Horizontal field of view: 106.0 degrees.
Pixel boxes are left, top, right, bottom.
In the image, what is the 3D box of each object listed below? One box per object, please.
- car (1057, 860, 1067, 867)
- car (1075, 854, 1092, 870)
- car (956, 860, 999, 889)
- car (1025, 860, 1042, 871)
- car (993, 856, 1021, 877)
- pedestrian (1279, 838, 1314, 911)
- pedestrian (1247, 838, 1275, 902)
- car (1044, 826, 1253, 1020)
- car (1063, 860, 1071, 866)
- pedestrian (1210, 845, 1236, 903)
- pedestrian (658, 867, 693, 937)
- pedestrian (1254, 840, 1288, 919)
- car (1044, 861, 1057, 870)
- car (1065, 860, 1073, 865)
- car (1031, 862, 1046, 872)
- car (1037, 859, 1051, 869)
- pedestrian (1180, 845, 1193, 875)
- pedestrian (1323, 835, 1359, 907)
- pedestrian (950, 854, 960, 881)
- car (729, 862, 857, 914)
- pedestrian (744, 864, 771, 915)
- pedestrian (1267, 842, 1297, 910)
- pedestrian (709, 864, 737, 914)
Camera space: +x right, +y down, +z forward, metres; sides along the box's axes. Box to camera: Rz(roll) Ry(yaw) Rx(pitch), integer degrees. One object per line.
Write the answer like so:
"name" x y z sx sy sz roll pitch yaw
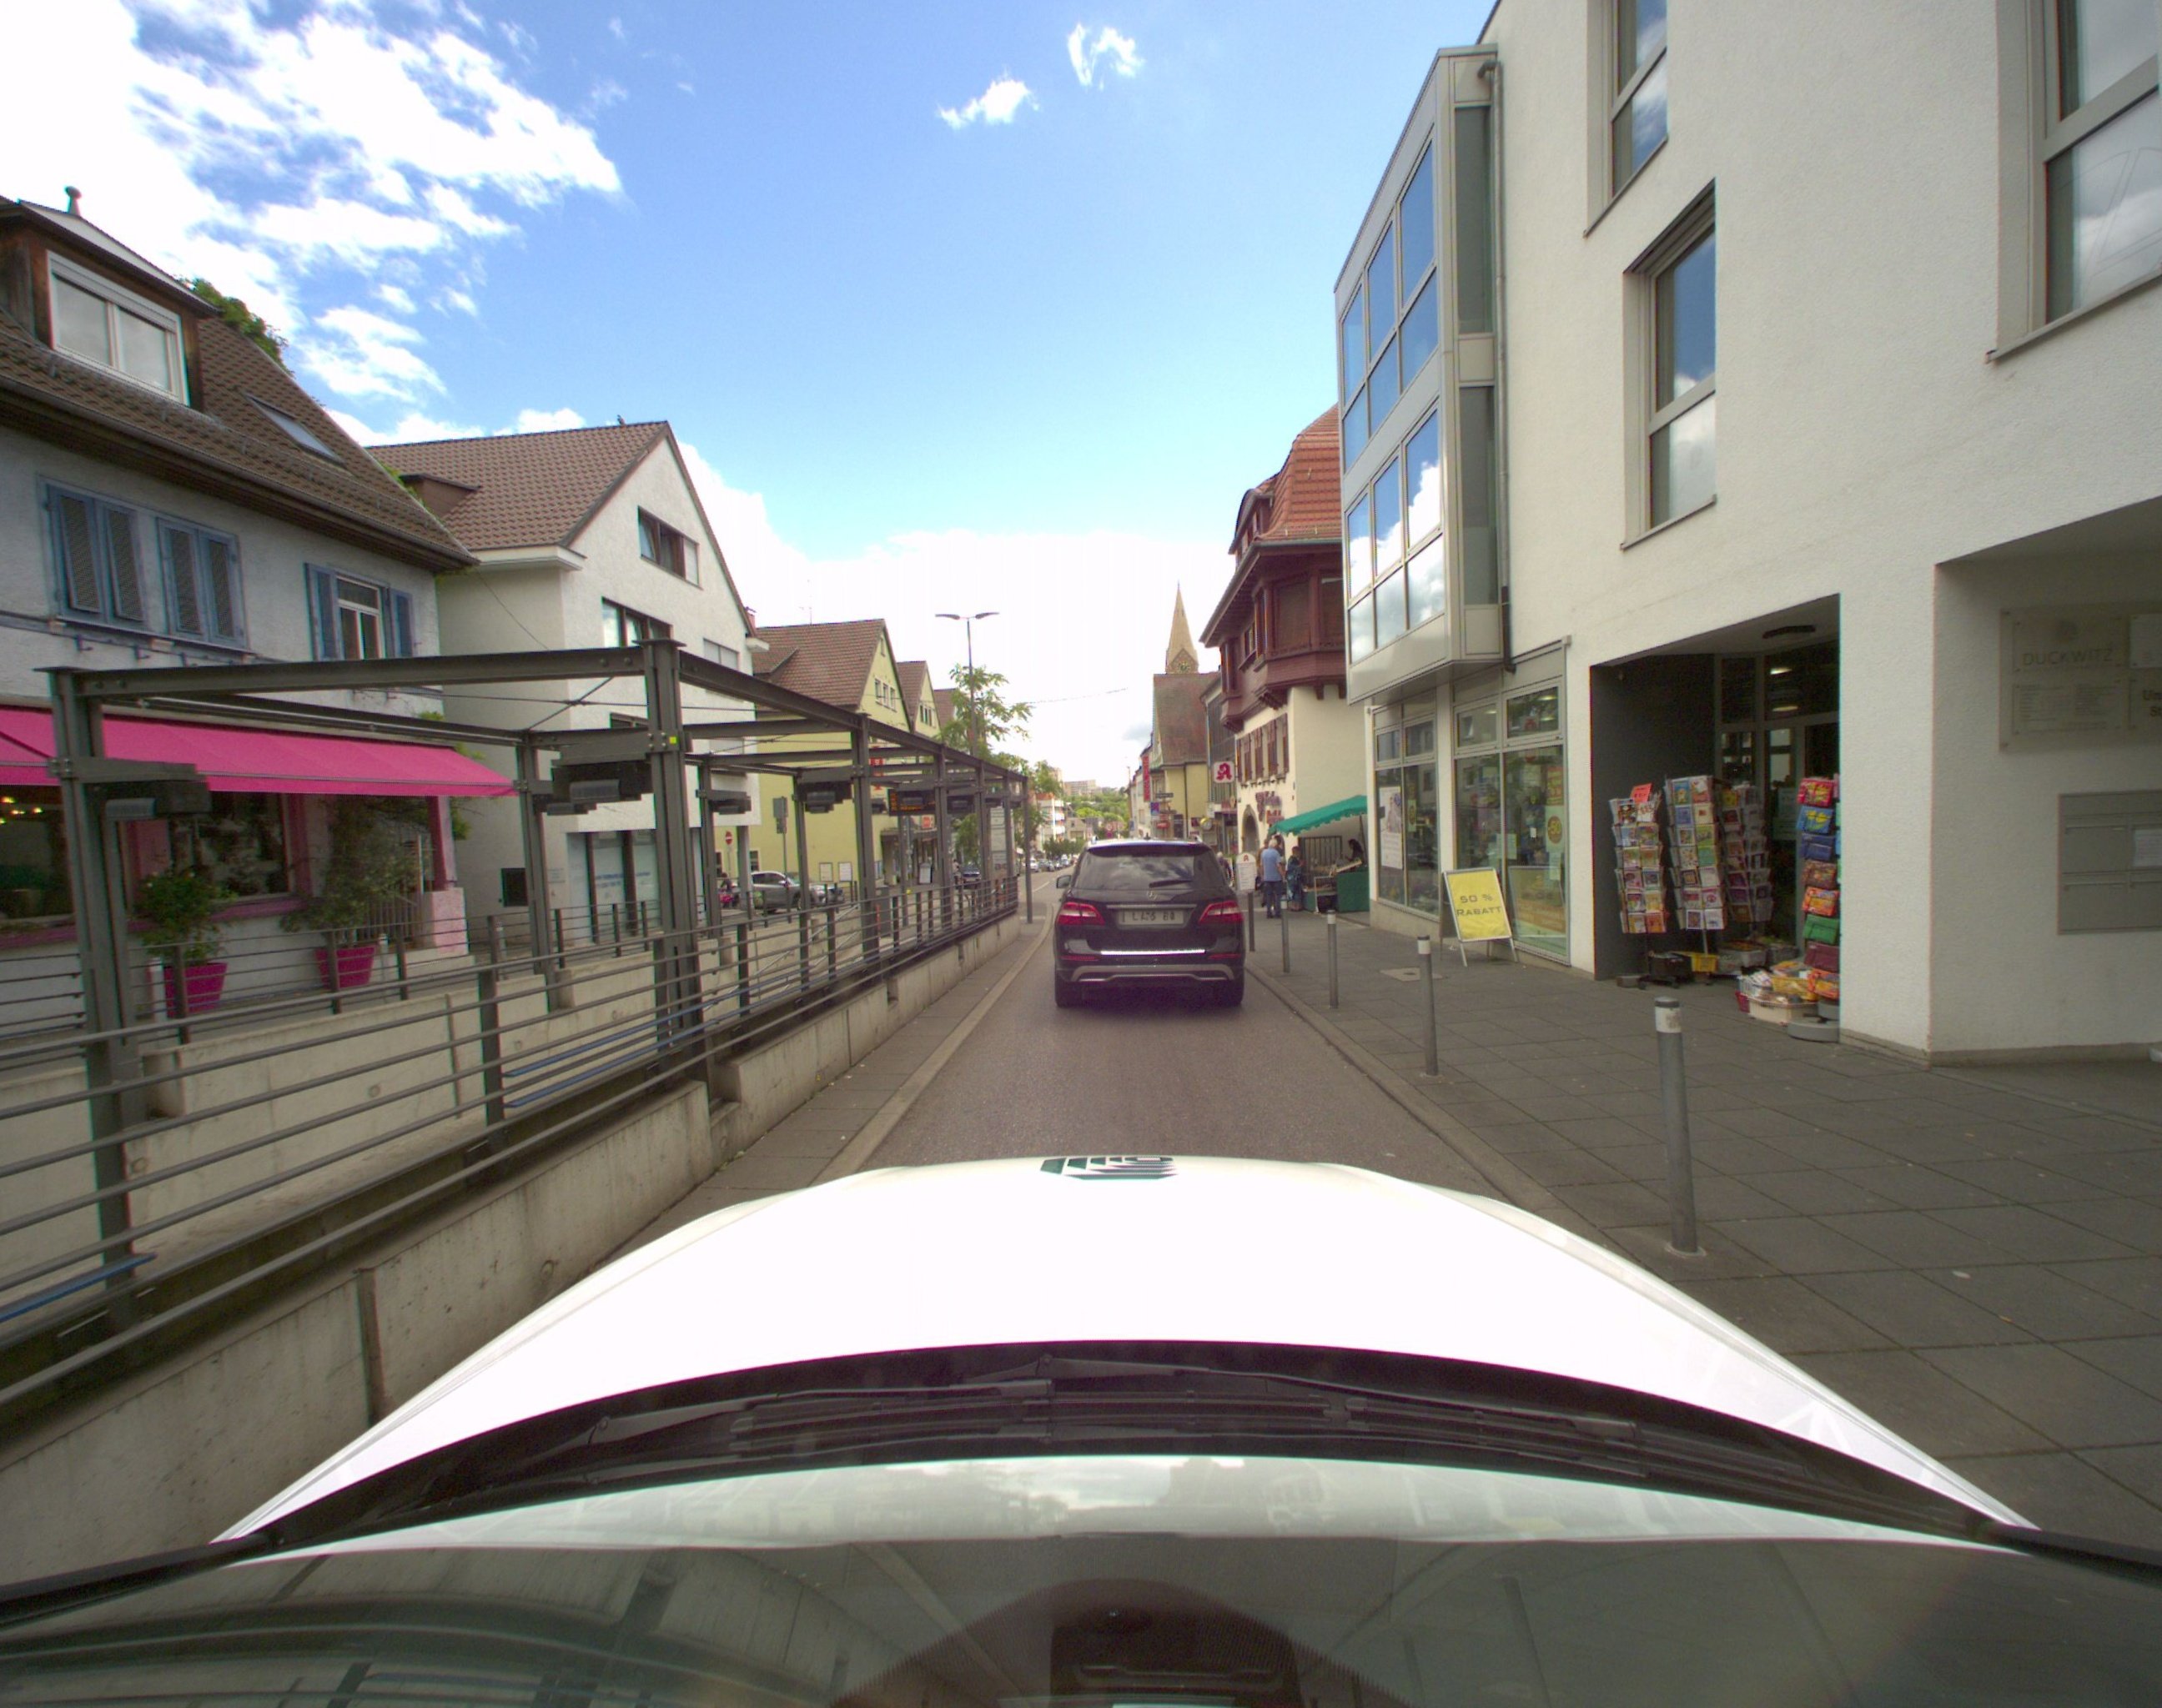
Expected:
"car" -3.056 1.549 131.406 1.383 1.070 3.115 -3 0 2
"car" 0.295 0.841 89.604 1.764 1.713 4.001 0 0 2
"car" -5.685 1.107 45.147 1.683 1.490 3.981 0 0 2
"car" -4.928 1.213 85.000 1.383 1.070 3.115 -3 0 2
"car" -5.615 0.946 62.413 1.654 1.490 3.750 0 0 2
"pedestrian" 5.159 0.480 19.503 0.572 1.689 0.565 -3 0 -5
"pedestrian" 5.134 0.449 23.258 0.637 1.809 0.685 0 0 1
"car" 0.635 0.628 9.428 1.894 1.747 4.000 0 0 0
"car" -2.690 1.723 158.694 1.383 1.070 3.115 -3 0 2
"pedestrian" 4.170 0.584 23.975 0.620 1.689 0.565 0 0 -5
"pedestrian" -10.069 1.177 20.232 0.576 1.689 0.577 0 0 1
"pedestrian" 4.274 0.568 18.302 0.541 1.726 0.527 -3 0 -5
"car" -4.122 1.566 110.189 1.383 1.070 3.115 -3 0 2
"car" -2.508 1.710 163.982 1.383 1.070 3.115 -3 0 2
"car" -5.001 1.475 96.383 1.383 1.070 3.115 -3 0 2
"car" -4.647 1.251 102.202 1.383 1.070 3.115 -3 0 2
"pedestrian" 6.160 0.361 47.496 0.604 1.688 0.725 -3 0 1
"pedestrian" 6.255 0.395 19.616 0.572 1.689 0.565 -3 0 -5
"pedestrian" -7.805 0.838 50.312 0.511 1.689 0.542 0 0 1
"car" -10.858 1.289 30.798 4.149 1.731 1.842 -3 0 15
"pedestrian" -10.990 1.194 27.644 0.623 1.689 0.679 0 0 1
"pedestrian" 5.046 0.540 20.494 0.572 1.689 0.565 0 0 -4
"pedestrian" -12.498 1.204 28.438 0.650 1.689 0.730 0 0 -1
